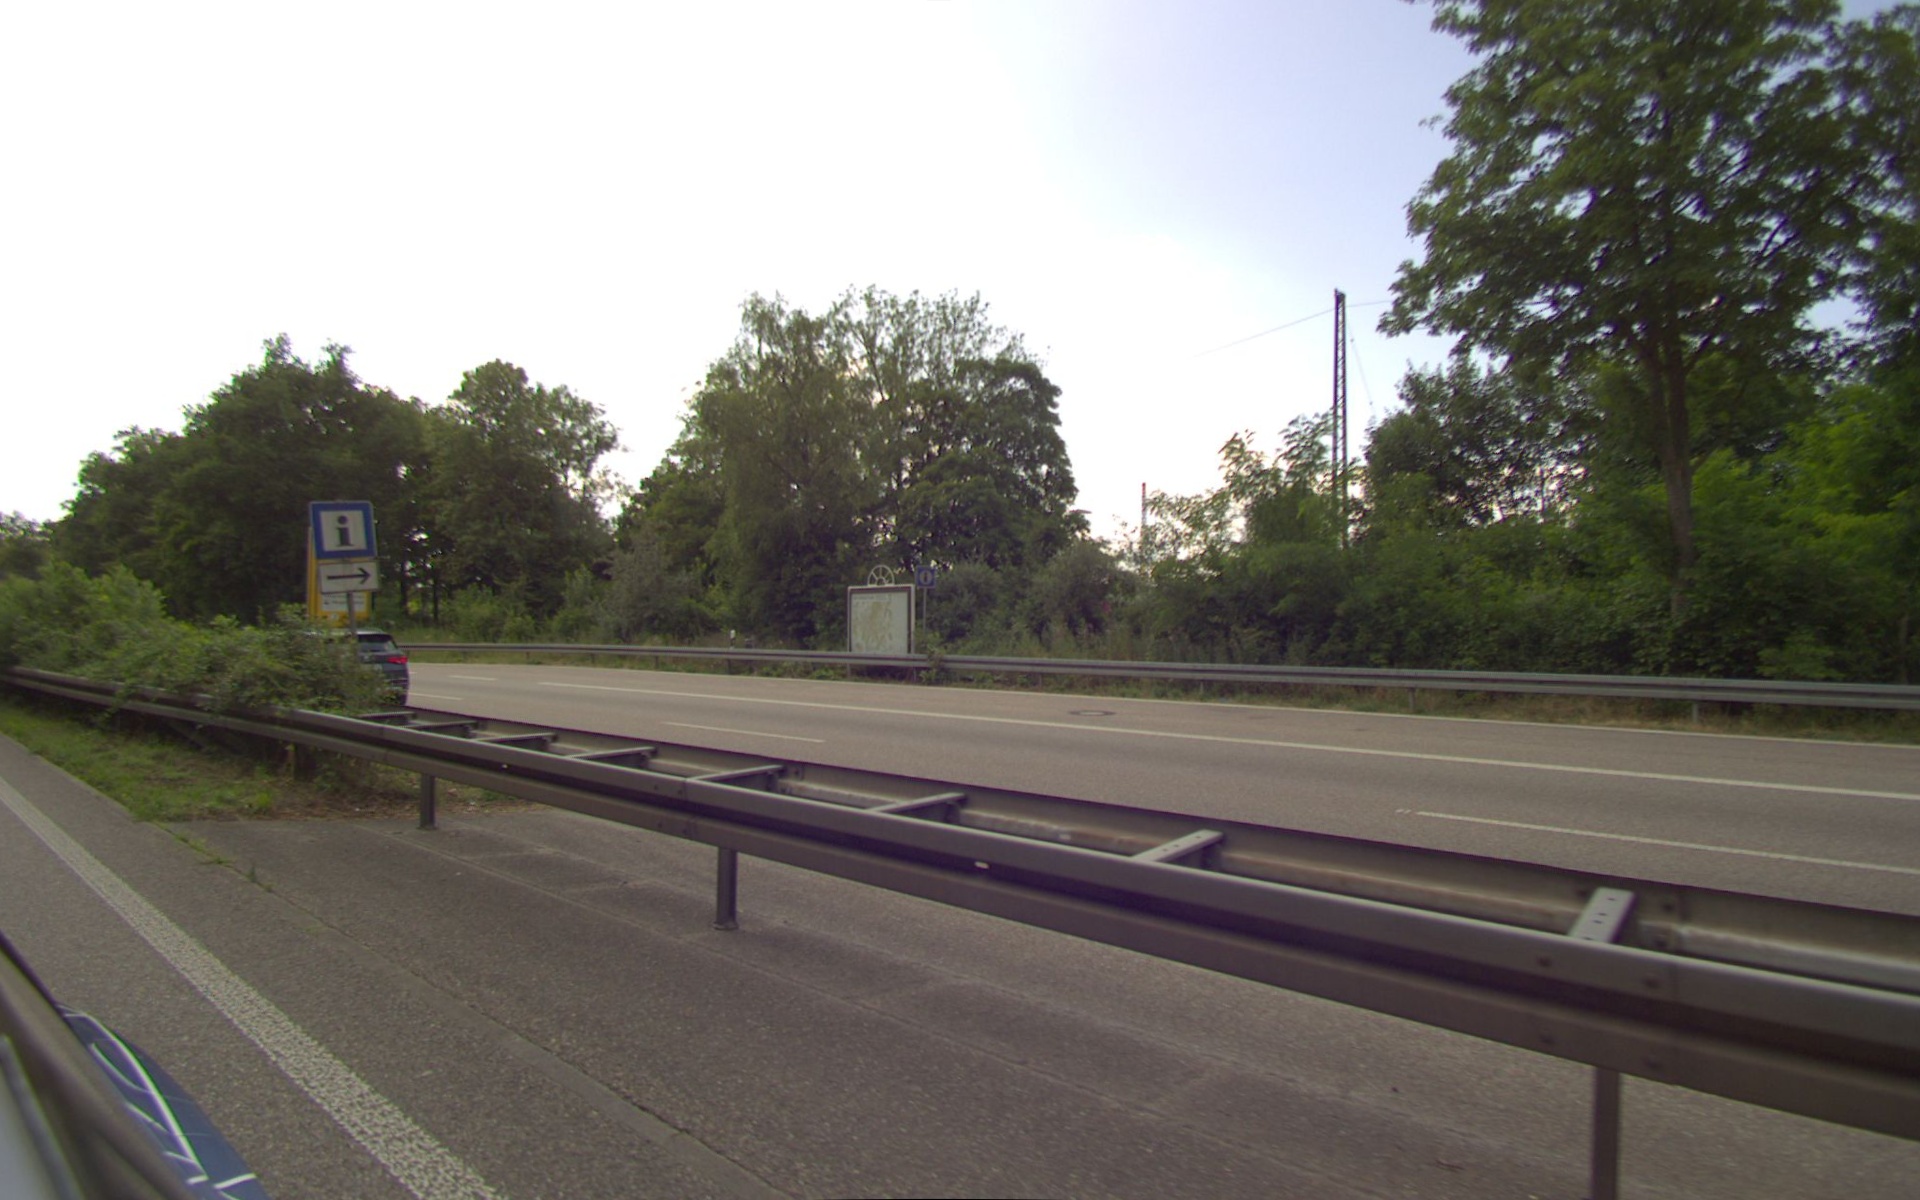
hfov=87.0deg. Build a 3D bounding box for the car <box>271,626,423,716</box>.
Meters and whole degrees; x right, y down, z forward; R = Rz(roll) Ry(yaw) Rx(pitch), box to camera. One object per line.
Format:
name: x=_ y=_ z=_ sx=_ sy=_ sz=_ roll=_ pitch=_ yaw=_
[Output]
car: x=-12.157 y=1.326 z=20.004 sx=3.531 sy=1.620 sz=1.568 roll=-1 pitch=-2 yaw=41
